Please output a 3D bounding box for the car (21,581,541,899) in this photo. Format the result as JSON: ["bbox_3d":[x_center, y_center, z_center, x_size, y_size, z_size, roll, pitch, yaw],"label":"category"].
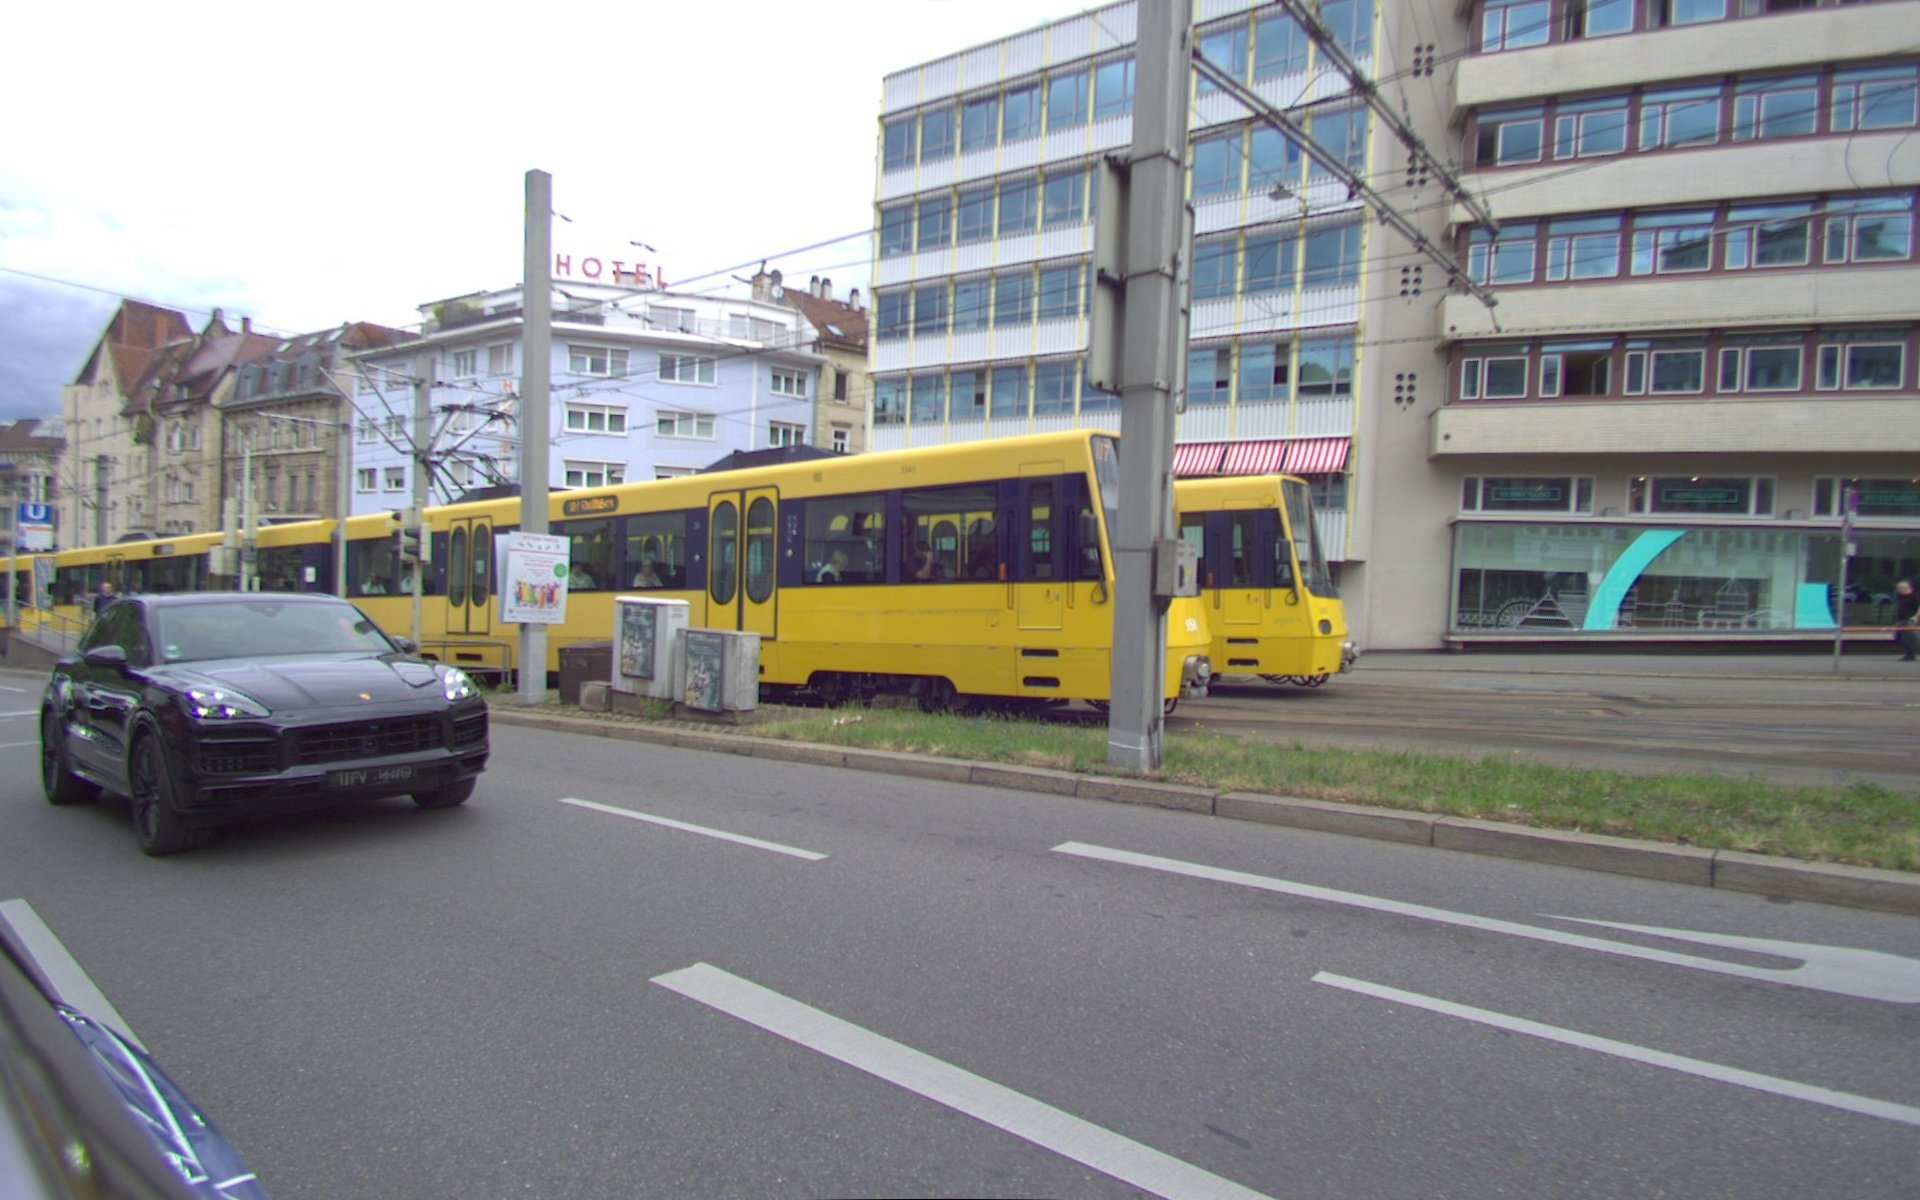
[{"bbox_3d":[-5.364,0.763,7.711,4.777,1.697,2.007,-1,0,39],"label":"car"}]

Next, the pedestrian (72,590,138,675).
[{"bbox_3d":[-20.999,0.778,24.845,1.231,1.984,0.921,3,1,35],"label":"pedestrian"}]

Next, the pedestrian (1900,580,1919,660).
[{"bbox_3d":[21.083,0.432,21.958,0.780,1.721,0.753,-1,-1,27],"label":"pedestrian"}]

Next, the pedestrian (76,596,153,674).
[{"bbox_3d":[-19.768,0.802,23.658,1.039,1.692,1.107,5,2,35],"label":"pedestrian"}]

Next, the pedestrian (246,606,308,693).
[{"bbox_3d":[-13.295,0.945,19.702,0.998,1.637,0.670,-1,-1,34],"label":"pedestrian"}]

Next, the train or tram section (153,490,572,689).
[{"bbox_3d":[-14.731,-0.121,23.965,14.194,3.691,2.857,-1,-1,35],"label":"train or tram section"}]

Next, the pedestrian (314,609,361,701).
[{"bbox_3d":[-10.376,0.904,16.875,0.568,1.475,0.677,2,1,-36],"label":"pedestrian"}]

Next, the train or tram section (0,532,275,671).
[{"bbox_3d":[-26.463,0.090,31.941,14.190,3.691,2.858,-1,0,34],"label":"train or tram section"}]

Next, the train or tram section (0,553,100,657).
[{"bbox_3d":[-38.229,0.124,39.833,14.191,3.585,2.899,0,1,34],"label":"train or tram section"}]

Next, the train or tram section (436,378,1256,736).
[{"bbox_3d":[-2.985,-0.370,15.773,14.441,3.691,2.857,-1,-1,35],"label":"train or tram section"}]

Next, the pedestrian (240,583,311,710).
[{"bbox_3d":[-11.818,0.770,17.464,0.953,2.082,1.035,1,1,-36],"label":"pedestrian"}]

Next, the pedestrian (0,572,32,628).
[{"bbox_3d":[-27.219,0.012,29.028,0.664,1.596,0.771,-1,-1,35],"label":"pedestrian"}]
